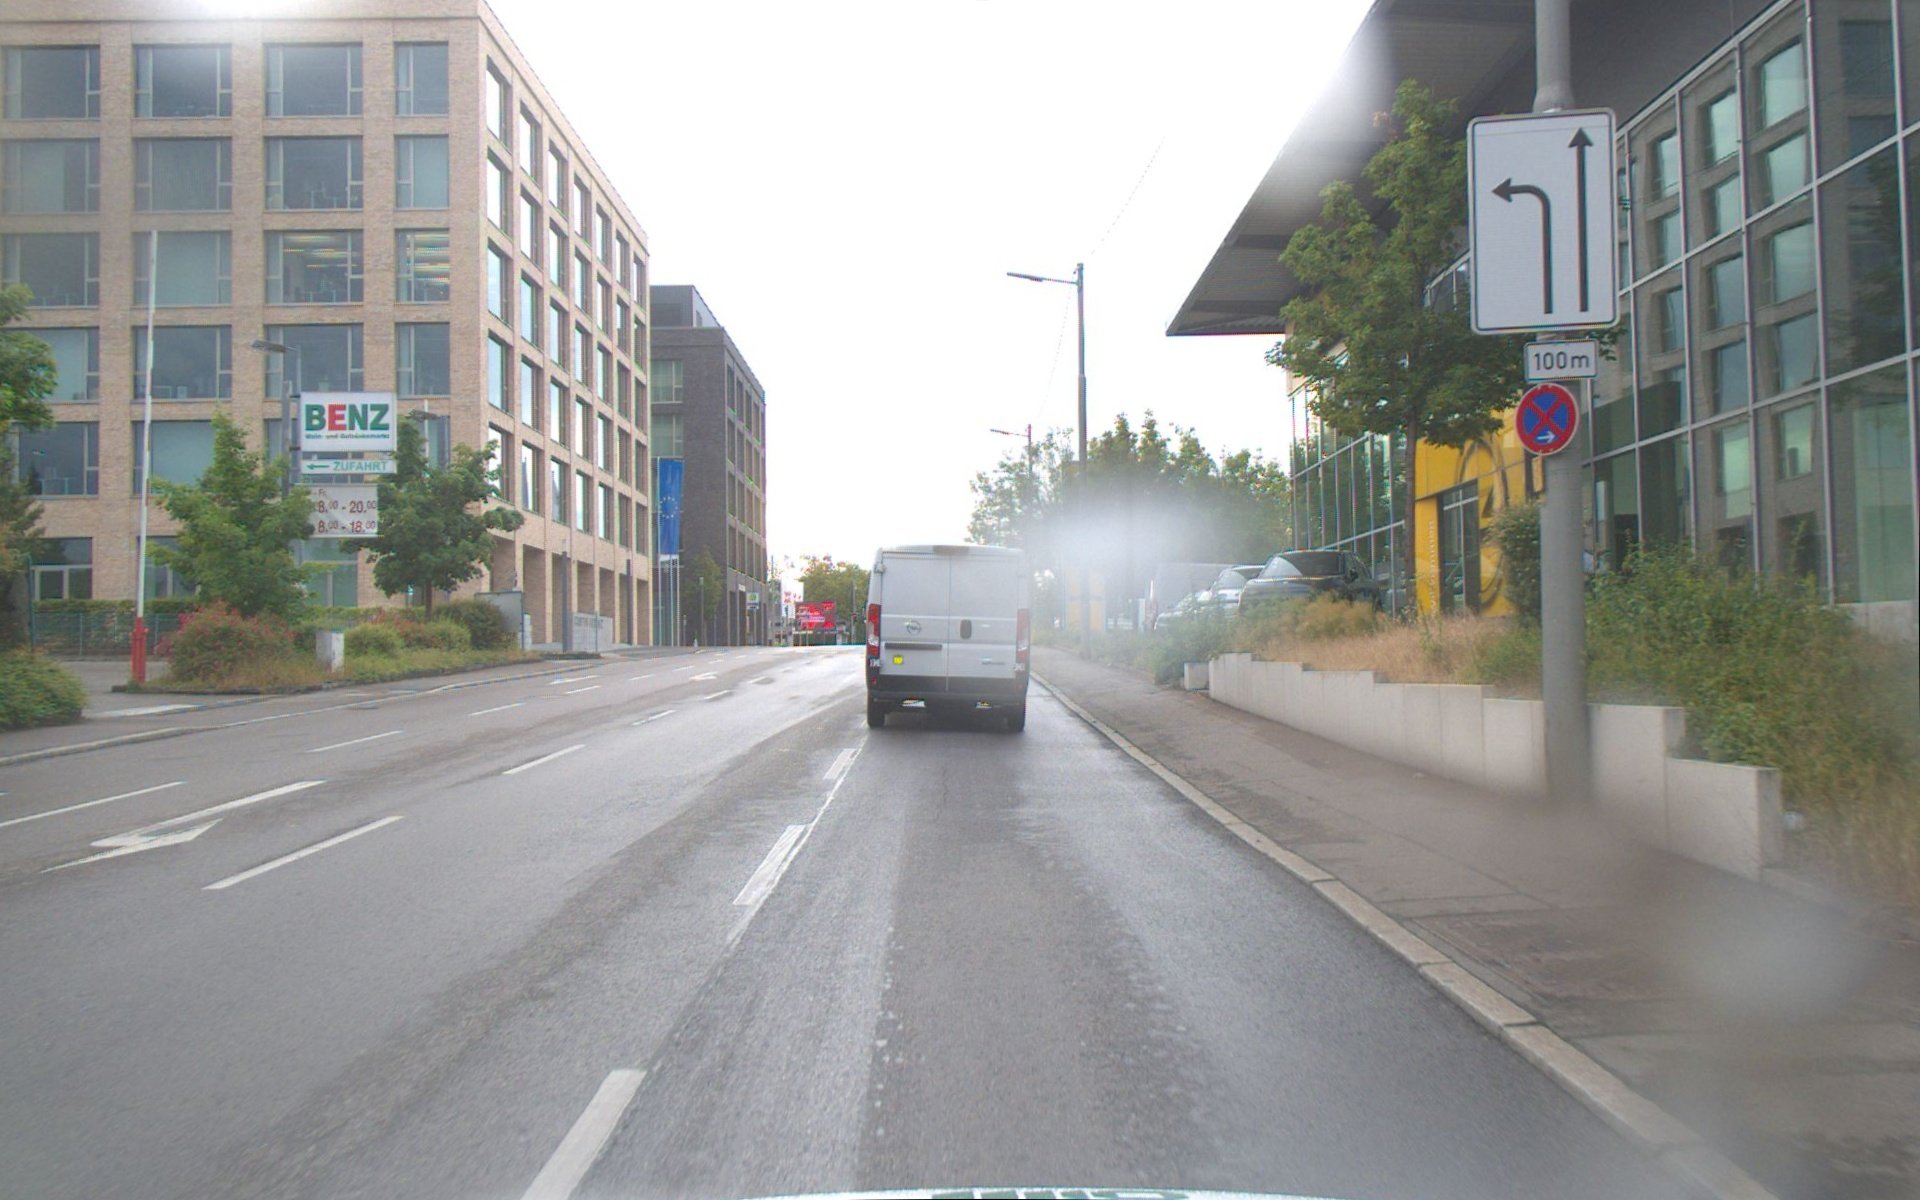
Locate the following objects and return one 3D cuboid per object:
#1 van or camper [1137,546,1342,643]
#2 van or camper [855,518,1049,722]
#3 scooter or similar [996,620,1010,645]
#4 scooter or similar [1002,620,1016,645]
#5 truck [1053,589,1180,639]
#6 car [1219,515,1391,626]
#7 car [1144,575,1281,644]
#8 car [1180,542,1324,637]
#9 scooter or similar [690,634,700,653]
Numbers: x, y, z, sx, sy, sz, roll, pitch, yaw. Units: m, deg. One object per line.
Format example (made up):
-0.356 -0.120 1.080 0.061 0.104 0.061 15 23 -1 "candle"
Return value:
8.137 -0.137 48.529 5.620 2.772 2.351 0 -1 -1 "van or camper"
-0.081 0.271 22.124 2.292 2.398 5.199 0 -1 0 "van or camper"
2.756 2.064 105.636 0.428 1.615 1.264 0 -1 -22 "scooter or similar"
3.164 2.078 105.816 0.428 1.592 1.264 0 -1 -22 "scooter or similar"
6.513 0.575 69.362 5.045 2.049 2.344 0 -1 -3 "truck"
6.277 -0.458 29.710 1.954 1.740 4.424 -3 -2 25 "car"
6.145 0.249 39.809 1.873 1.480 4.566 -3 -2 27 "car"
6.145 -0.169 34.416 1.953 1.740 4.577 -3 -2 22 "car"
-15.627 2.590 97.589 0.343 1.090 1.428 0 -3 0 "scooter or similar"
